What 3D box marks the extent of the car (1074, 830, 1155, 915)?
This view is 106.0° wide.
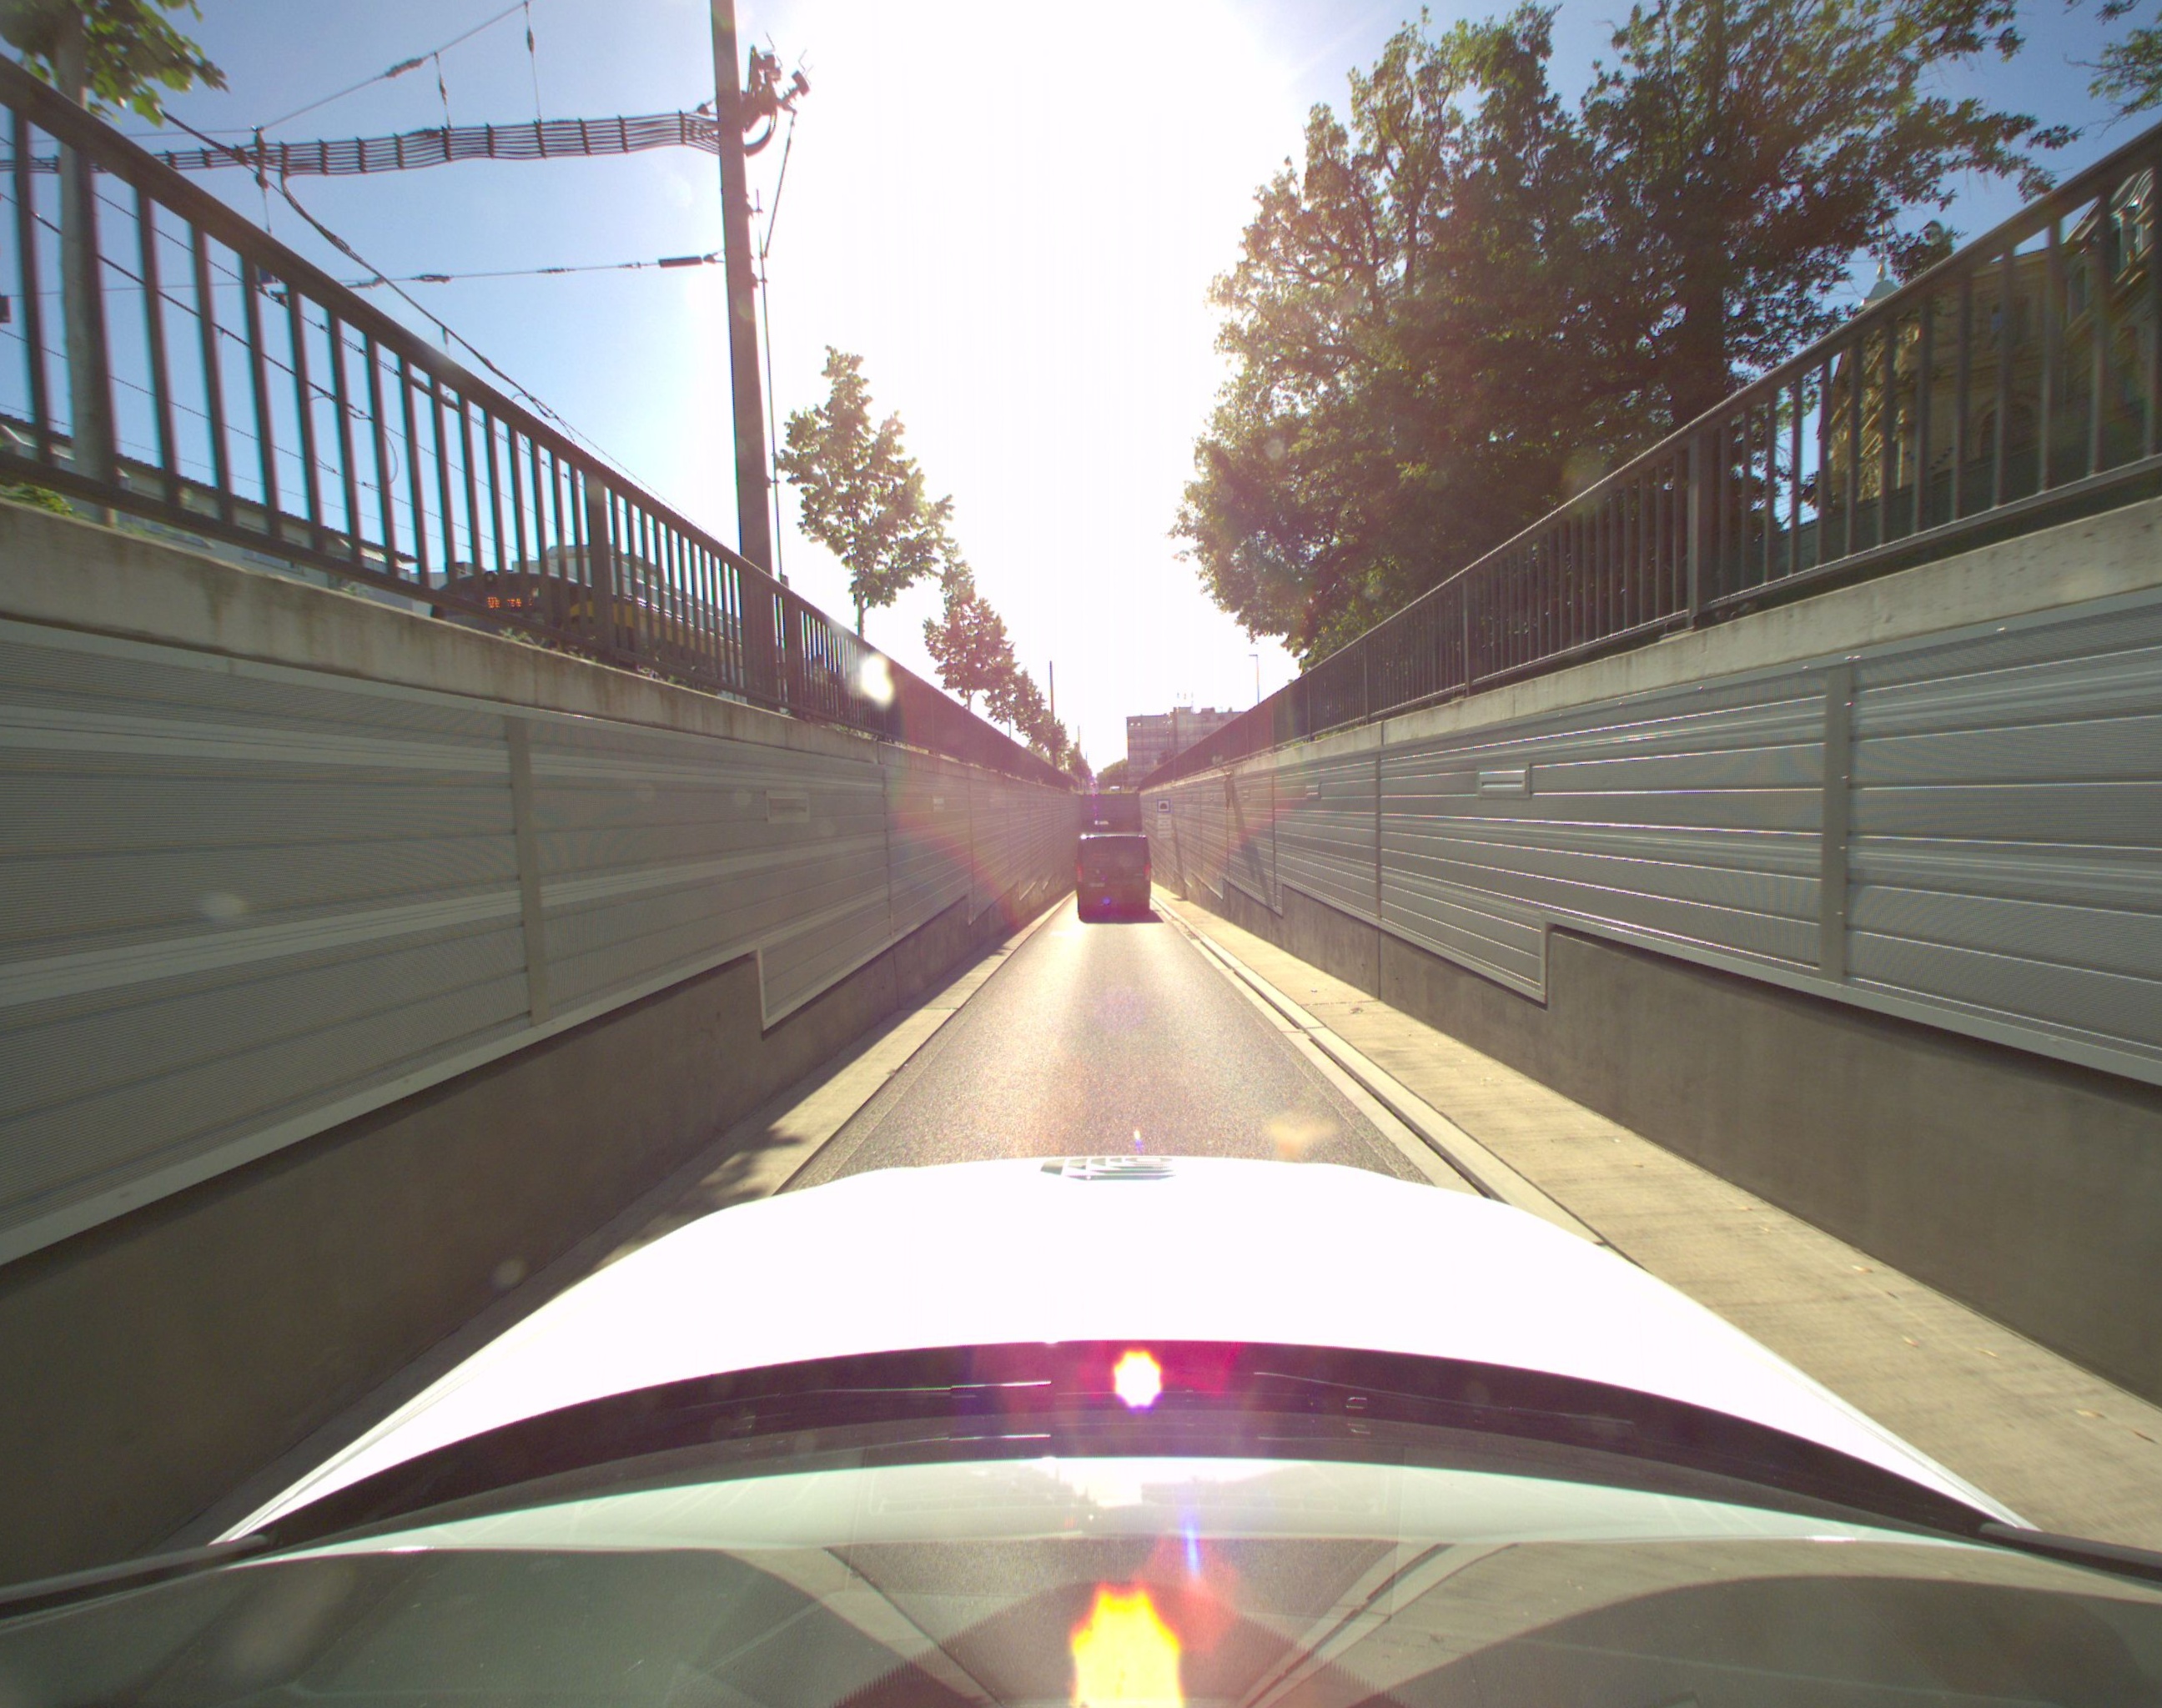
[{"bbox_3d":[0.992,0.492,24.004,2.150,2.266,4.639,0,0,2],"label":"car"}]

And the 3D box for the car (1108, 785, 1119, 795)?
[{"bbox_3d":[5.462,-10.941,138.725,1.734,1.561,4.002,-2,3,1],"label":"car"}]

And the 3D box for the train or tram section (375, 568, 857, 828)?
[{"bbox_3d":[-8.443,-2.548,18.259,2.600,3.655,13.353,0,3,2],"label":"train or tram section"}]

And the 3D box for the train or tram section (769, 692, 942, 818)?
[{"bbox_3d":[-8.009,-3.353,31.441,2.601,3.820,13.100,0,3,2],"label":"train or tram section"}]

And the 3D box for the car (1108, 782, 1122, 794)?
[{"bbox_3d":[4.627,-8.962,111.003,1.734,1.561,4.002,-2,3,1],"label":"car"}]
